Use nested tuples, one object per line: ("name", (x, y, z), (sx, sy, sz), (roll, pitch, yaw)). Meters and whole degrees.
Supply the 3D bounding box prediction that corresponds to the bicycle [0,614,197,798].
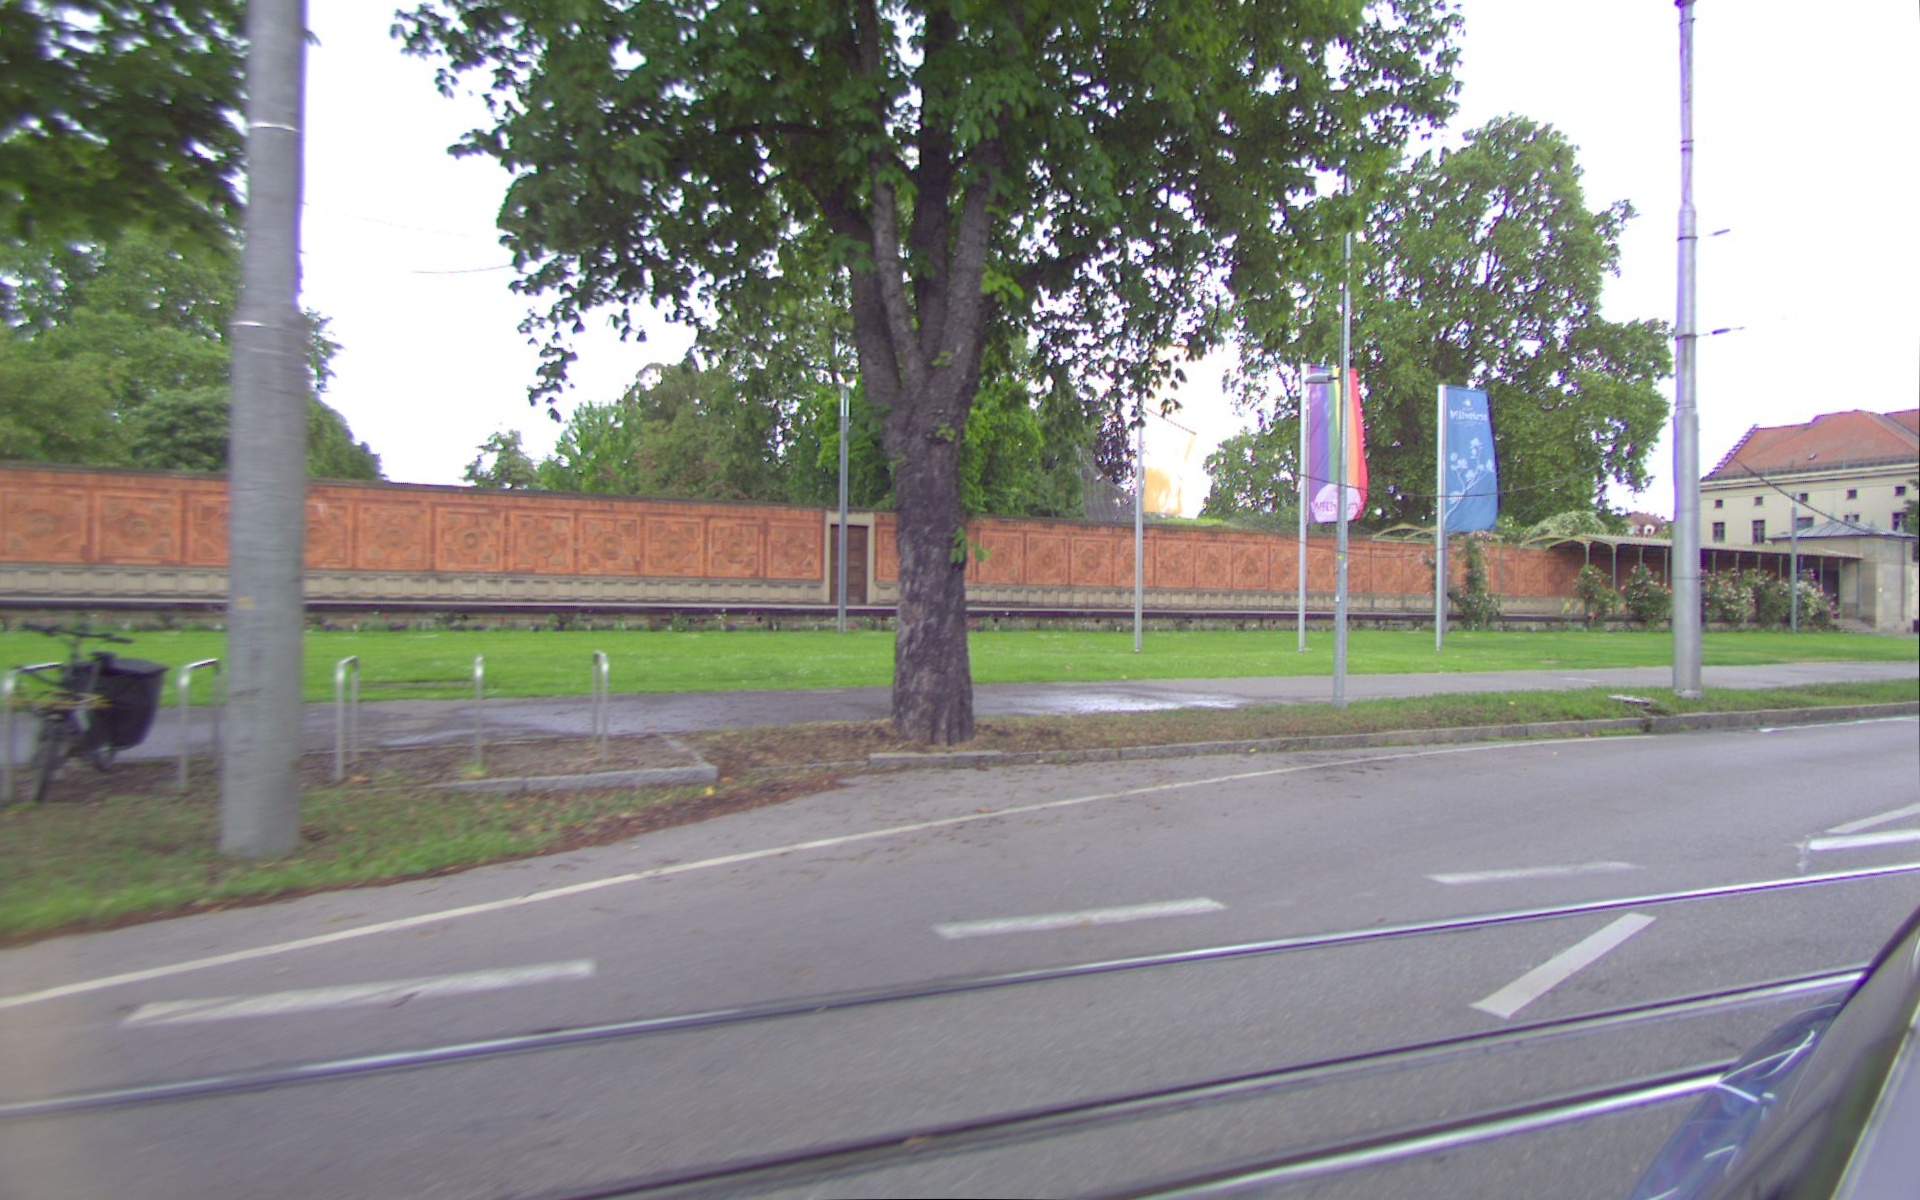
("bicycle", (-6.600, 0.715, 7.685), (0.725, 1.172, 2.002), (1, 0, -20))
